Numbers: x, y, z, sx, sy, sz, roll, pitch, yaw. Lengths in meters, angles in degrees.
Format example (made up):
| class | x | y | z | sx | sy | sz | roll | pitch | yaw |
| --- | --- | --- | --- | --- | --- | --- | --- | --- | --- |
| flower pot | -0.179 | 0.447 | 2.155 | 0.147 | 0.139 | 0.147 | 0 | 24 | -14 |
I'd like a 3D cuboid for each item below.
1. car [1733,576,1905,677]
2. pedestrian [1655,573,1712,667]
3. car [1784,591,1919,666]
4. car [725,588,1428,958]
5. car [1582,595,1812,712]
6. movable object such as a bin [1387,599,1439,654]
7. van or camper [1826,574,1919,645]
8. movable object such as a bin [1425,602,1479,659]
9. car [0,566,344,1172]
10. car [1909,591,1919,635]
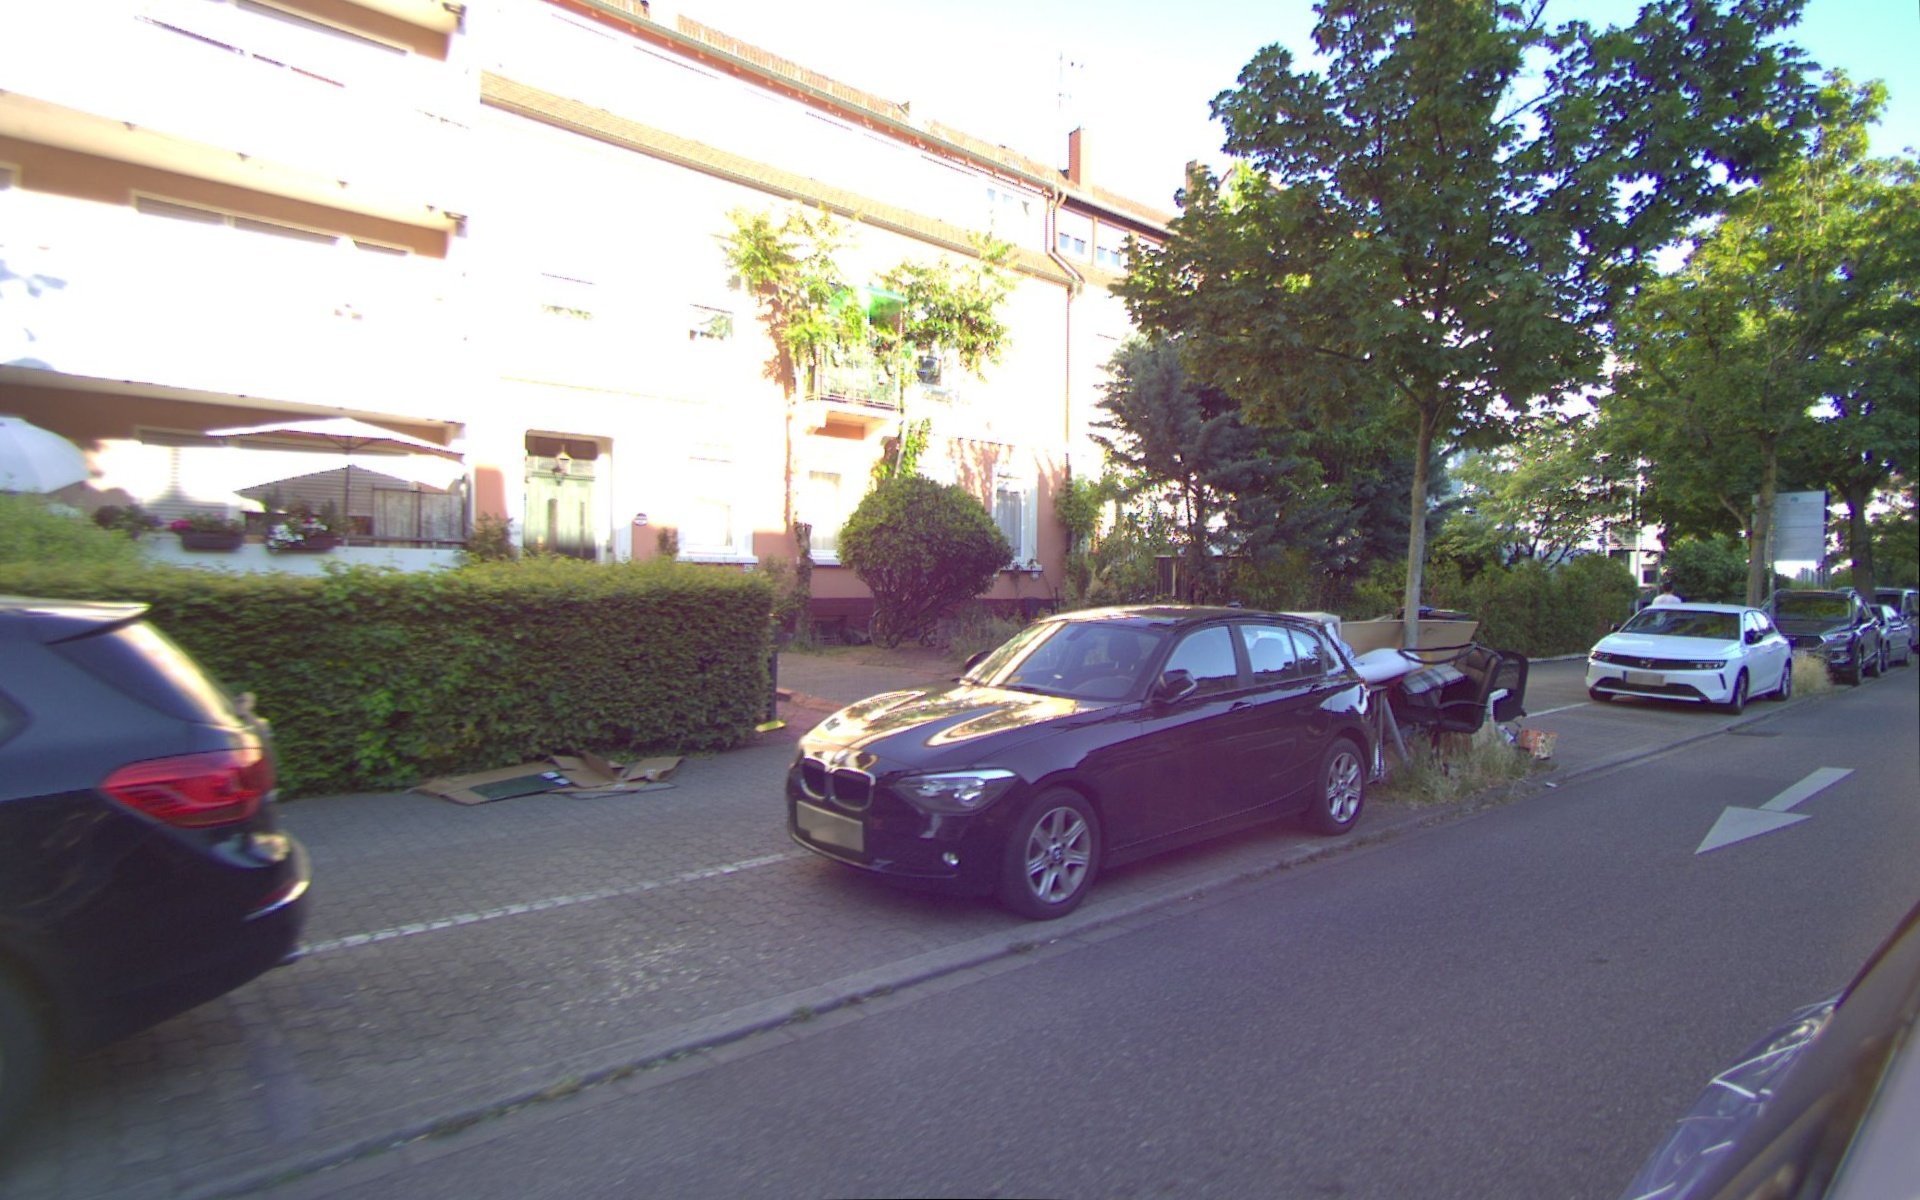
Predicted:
| class | x | y | z | sx | sy | sz | roll | pitch | yaw |
| --- | --- | --- | --- | --- | --- | --- | --- | --- | --- |
| car | 16.803 | 0.437 | 19.716 | 4.627 | 1.702 | 1.919 | 0 | 2 | -42 |
| pedestrian | 14.293 | 0.396 | 20.003 | 0.751 | 1.806 | 0.669 | -2 | -1 | -41 |
| car | 20.433 | 0.571 | 22.942 | 4.743 | 1.523 | 1.788 | 0 | 0 | -39 |
| car | 0.976 | 0.686 | 6.213 | 4.406 | 1.467 | 1.773 | 0 | 1 | -41 |
| car | 10.833 | 0.664 | 14.759 | 4.257 | 1.419 | 1.765 | 0 | 2 | -41 |
| movable object such as a bin | 9.407 | 0.535 | 21.022 | 0.672 | 1.071 | 0.727 | 0 | 4 | -41 |
| van or camper | 26.567 | 0.292 | 28.886 | 5.165 | 1.866 | 1.997 | 1 | -1 | -40 |
| movable object such as a bin | 9.931 | 0.596 | 20.421 | 0.672 | 1.071 | 0.727 | 0 | 4 | -41 |
| car | -3.995 | 0.647 | 2.148 | 4.356 | 1.490 | 1.719 | 0 | 1 | -43 |
| car | 33.972 | 0.481 | 34.691 | 4.230 | 1.461 | 1.737 | 1 | 1 | -42 |
